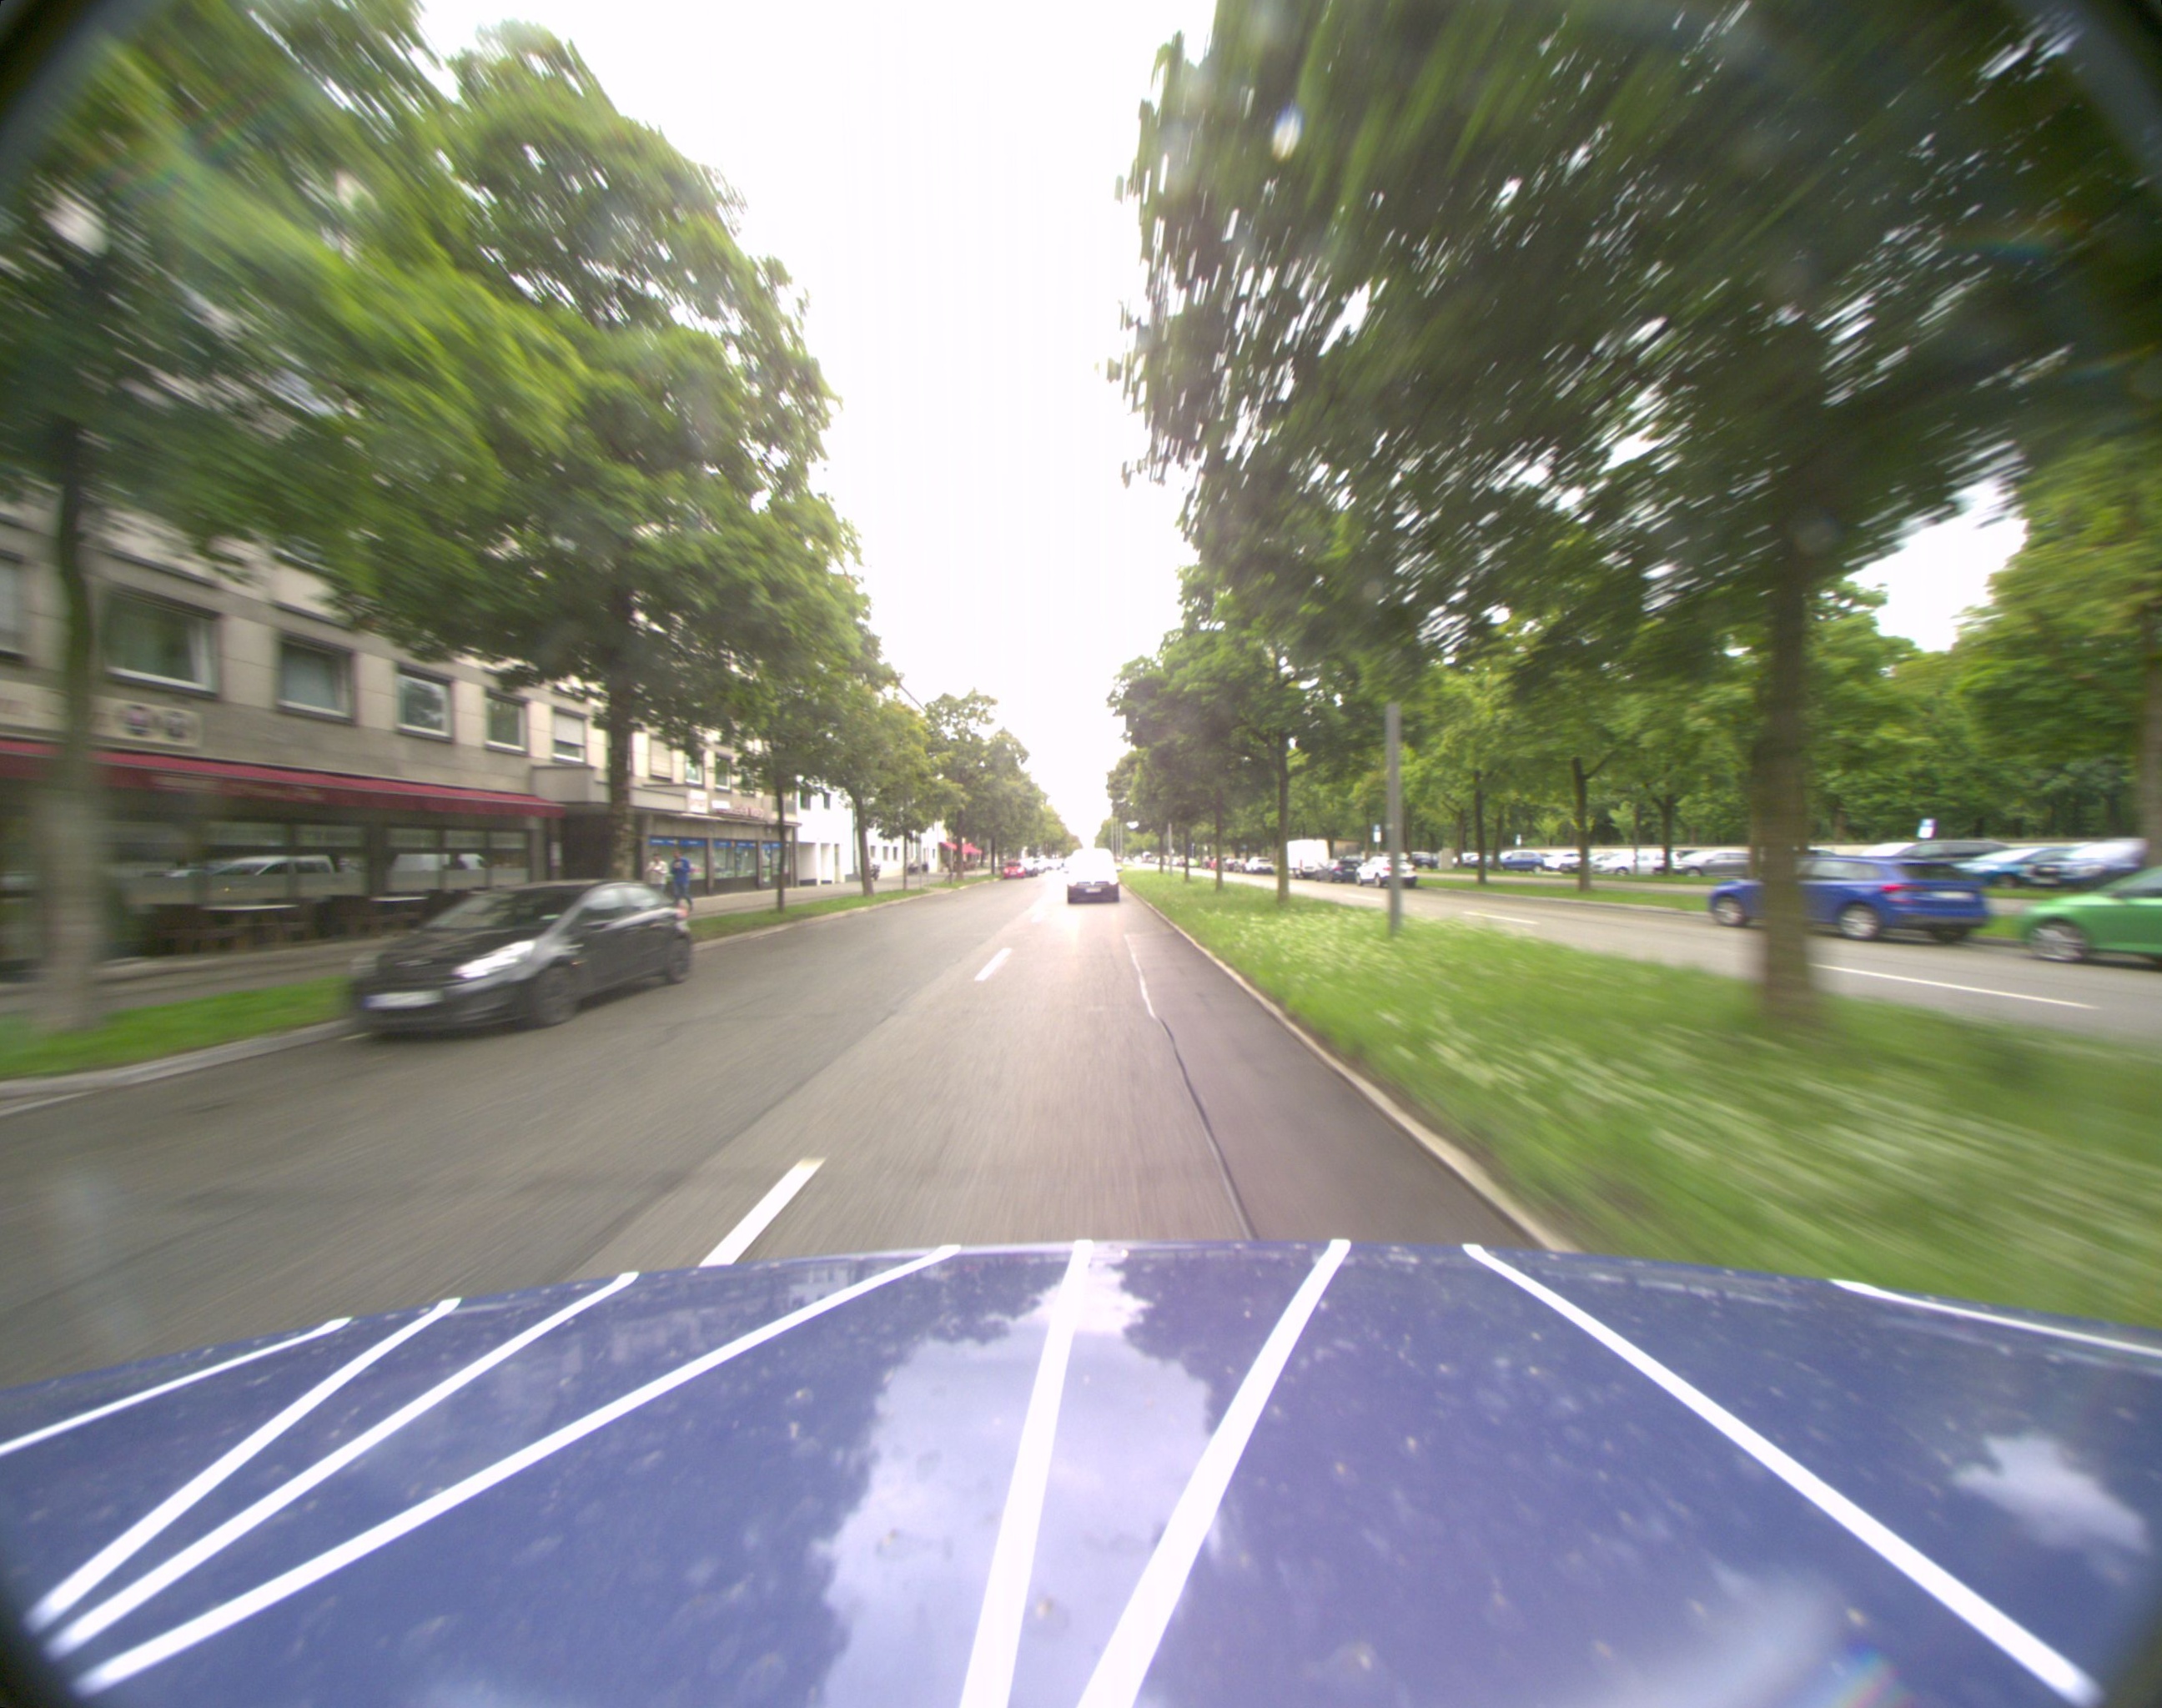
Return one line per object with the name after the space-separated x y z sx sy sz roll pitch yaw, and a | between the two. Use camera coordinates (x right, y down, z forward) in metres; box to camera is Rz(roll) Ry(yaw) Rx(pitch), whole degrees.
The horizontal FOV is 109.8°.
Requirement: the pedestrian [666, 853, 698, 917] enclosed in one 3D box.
-11.051 0.844 21.073 0.501 1.723 0.733 0 1 1 | pedestrian

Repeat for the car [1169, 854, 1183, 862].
17.131 0.676 137.307 1.826 1.438 3.787 2 0 -1 | car

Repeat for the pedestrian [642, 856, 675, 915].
-11.872 0.868 21.351 0.550 1.620 0.641 1 1 1 | pedestrian

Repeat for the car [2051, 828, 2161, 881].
42.223 0.009 30.308 4.517 2.022 2.000 -1 0 0 | car

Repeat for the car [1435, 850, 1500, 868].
29.456 0.353 57.990 3.996 1.331 1.815 -1 0 4 | car

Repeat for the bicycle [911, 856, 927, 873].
-13.852 0.888 65.046 0.704 1.399 2.593 3 0 1 | bicycle

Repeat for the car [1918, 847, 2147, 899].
28.997 0.558 23.332 3.992 1.496 2.002 0 0 14 | car

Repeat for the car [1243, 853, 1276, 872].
15.710 0.733 67.103 1.826 1.519 4.298 1 1 0 | car

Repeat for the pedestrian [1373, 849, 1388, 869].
22.604 0.388 57.405 0.796 1.487 0.856 -1 1 1 | pedestrian

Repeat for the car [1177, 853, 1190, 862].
16.985 0.561 126.291 1.654 1.414 3.687 2 0 2 | car

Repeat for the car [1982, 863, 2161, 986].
14.481 0.928 9.358 1.642 1.528 4.314 2 0 1 | car

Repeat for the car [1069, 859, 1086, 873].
-0.392 1.410 91.090 1.984 1.591 4.403 1 0 1 | car

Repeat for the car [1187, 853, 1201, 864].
16.617 0.635 111.815 1.644 1.490 4.001 1 0 2 | car

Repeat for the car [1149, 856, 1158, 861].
17.824 1.098 186.636 1.717 1.401 4.041 1 0 -1 | car

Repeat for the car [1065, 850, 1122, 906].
0.429 0.781 27.002 1.772 1.742 4.546 -3 0 1 | car

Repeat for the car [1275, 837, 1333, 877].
15.545 0.236 53.417 2.145 2.628 7.106 1 0 1 | car

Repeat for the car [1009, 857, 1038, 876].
-4.708 1.014 62.394 1.524 1.433 4.002 -1 0 8 | car

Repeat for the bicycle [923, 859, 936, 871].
-13.886 0.991 69.645 0.623 1.040 2.195 3 0 1 | bicycle

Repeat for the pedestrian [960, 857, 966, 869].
-14.180 1.075 91.450 0.539 1.331 0.552 -1 0 0 | pedestrian

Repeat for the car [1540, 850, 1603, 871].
40.346 0.506 62.513 3.995 1.643 1.771 -1 0 6 | car

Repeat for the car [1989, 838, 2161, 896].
28.003 0.324 20.414 4.356 1.496 2.002 0 0 11 | car

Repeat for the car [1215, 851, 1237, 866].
16.073 0.462 84.308 1.826 1.590 4.113 -1 0 2 | car

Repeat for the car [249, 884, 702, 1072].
-6.258 1.150 8.614 1.999 1.443 3.999 -1 0 -2 | car

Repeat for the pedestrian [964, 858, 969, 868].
-14.069 1.162 93.656 0.539 1.207 0.487 -1 1 1 | pedestrian

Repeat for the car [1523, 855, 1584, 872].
40.486 0.806 65.168 3.995 1.364 1.879 -1 0 6 | car

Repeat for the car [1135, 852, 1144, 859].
14.642 0.444 190.830 1.855 1.591 4.403 1 0 1 | car

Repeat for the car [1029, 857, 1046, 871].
-4.890 1.115 86.589 1.834 1.513 4.522 -2 0 -3 | car

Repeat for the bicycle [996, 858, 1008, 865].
-14.262 1.353 137.240 2.032 1.061 0.663 -1 0 -3 | bicycle

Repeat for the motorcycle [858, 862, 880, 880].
-13.678 1.079 49.107 0.763 1.079 2.199 0 0 1 | motorcycle

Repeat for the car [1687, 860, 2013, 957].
14.516 0.920 14.790 1.891 1.528 4.314 2 0 -1 | car

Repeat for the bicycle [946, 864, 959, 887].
-7.498 1.249 44.346 0.456 1.248 2.146 -1 0 -17 | bicycle

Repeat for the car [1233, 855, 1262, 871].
15.806 0.811 72.317 1.826 1.439 3.999 1 0 -2 | car

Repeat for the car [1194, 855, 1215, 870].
15.269 1.027 94.124 1.826 1.690 4.238 -1 1 0 | car

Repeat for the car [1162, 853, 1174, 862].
17.671 0.637 154.977 1.862 1.760 4.533 1 0 -1 | car

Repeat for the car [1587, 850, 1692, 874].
28.527 0.399 38.912 3.995 1.202 1.784 0 0 4 | car

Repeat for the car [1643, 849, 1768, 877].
28.487 0.411 34.775 4.183 1.202 1.784 0 0 4 | car

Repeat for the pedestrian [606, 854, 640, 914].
-12.733 0.828 21.154 0.543 1.631 0.724 0 0 -5 | pedestrian

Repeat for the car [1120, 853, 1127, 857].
13.416 0.364 238.731 1.820 1.440 4.782 0 0 0 | car

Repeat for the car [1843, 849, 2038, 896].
29.254 0.611 26.037 3.992 1.496 2.002 0 0 14 | car

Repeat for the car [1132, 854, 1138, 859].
17.820 0.793 252.928 1.826 1.544 3.721 -1 0 2 | car

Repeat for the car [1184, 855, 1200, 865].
17.556 0.928 120.276 1.826 1.621 4.456 0 0 1 | car

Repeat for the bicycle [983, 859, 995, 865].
-16.590 1.422 137.149 2.032 1.061 0.663 -1 0 -3 | bicycle

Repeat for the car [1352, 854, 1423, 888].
15.130 0.813 37.719 1.862 1.482 4.141 -1 1 0 | car

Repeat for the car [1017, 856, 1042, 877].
-4.618 1.085 68.602 1.833 1.736 4.509 -1 0 2 | car

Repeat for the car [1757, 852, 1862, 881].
40.534 0.693 42.344 3.995 1.587 1.771 -1 0 6 | car

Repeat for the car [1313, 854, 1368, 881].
15.418 0.766 45.352 1.862 1.482 4.251 -1 1 0 | car

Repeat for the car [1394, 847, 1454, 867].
27.516 0.213 60.987 3.996 1.561 1.815 -1 0 3 | car

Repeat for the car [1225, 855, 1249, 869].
16.134 0.795 78.794 1.825 1.401 4.001 1 0 3 | car

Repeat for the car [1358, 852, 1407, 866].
28.771 0.504 72.544 3.998 1.276 1.740 -1 0 -4 | car

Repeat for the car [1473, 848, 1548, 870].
28.821 0.348 51.092 3.995 1.429 1.815 -1 0 6 | car
